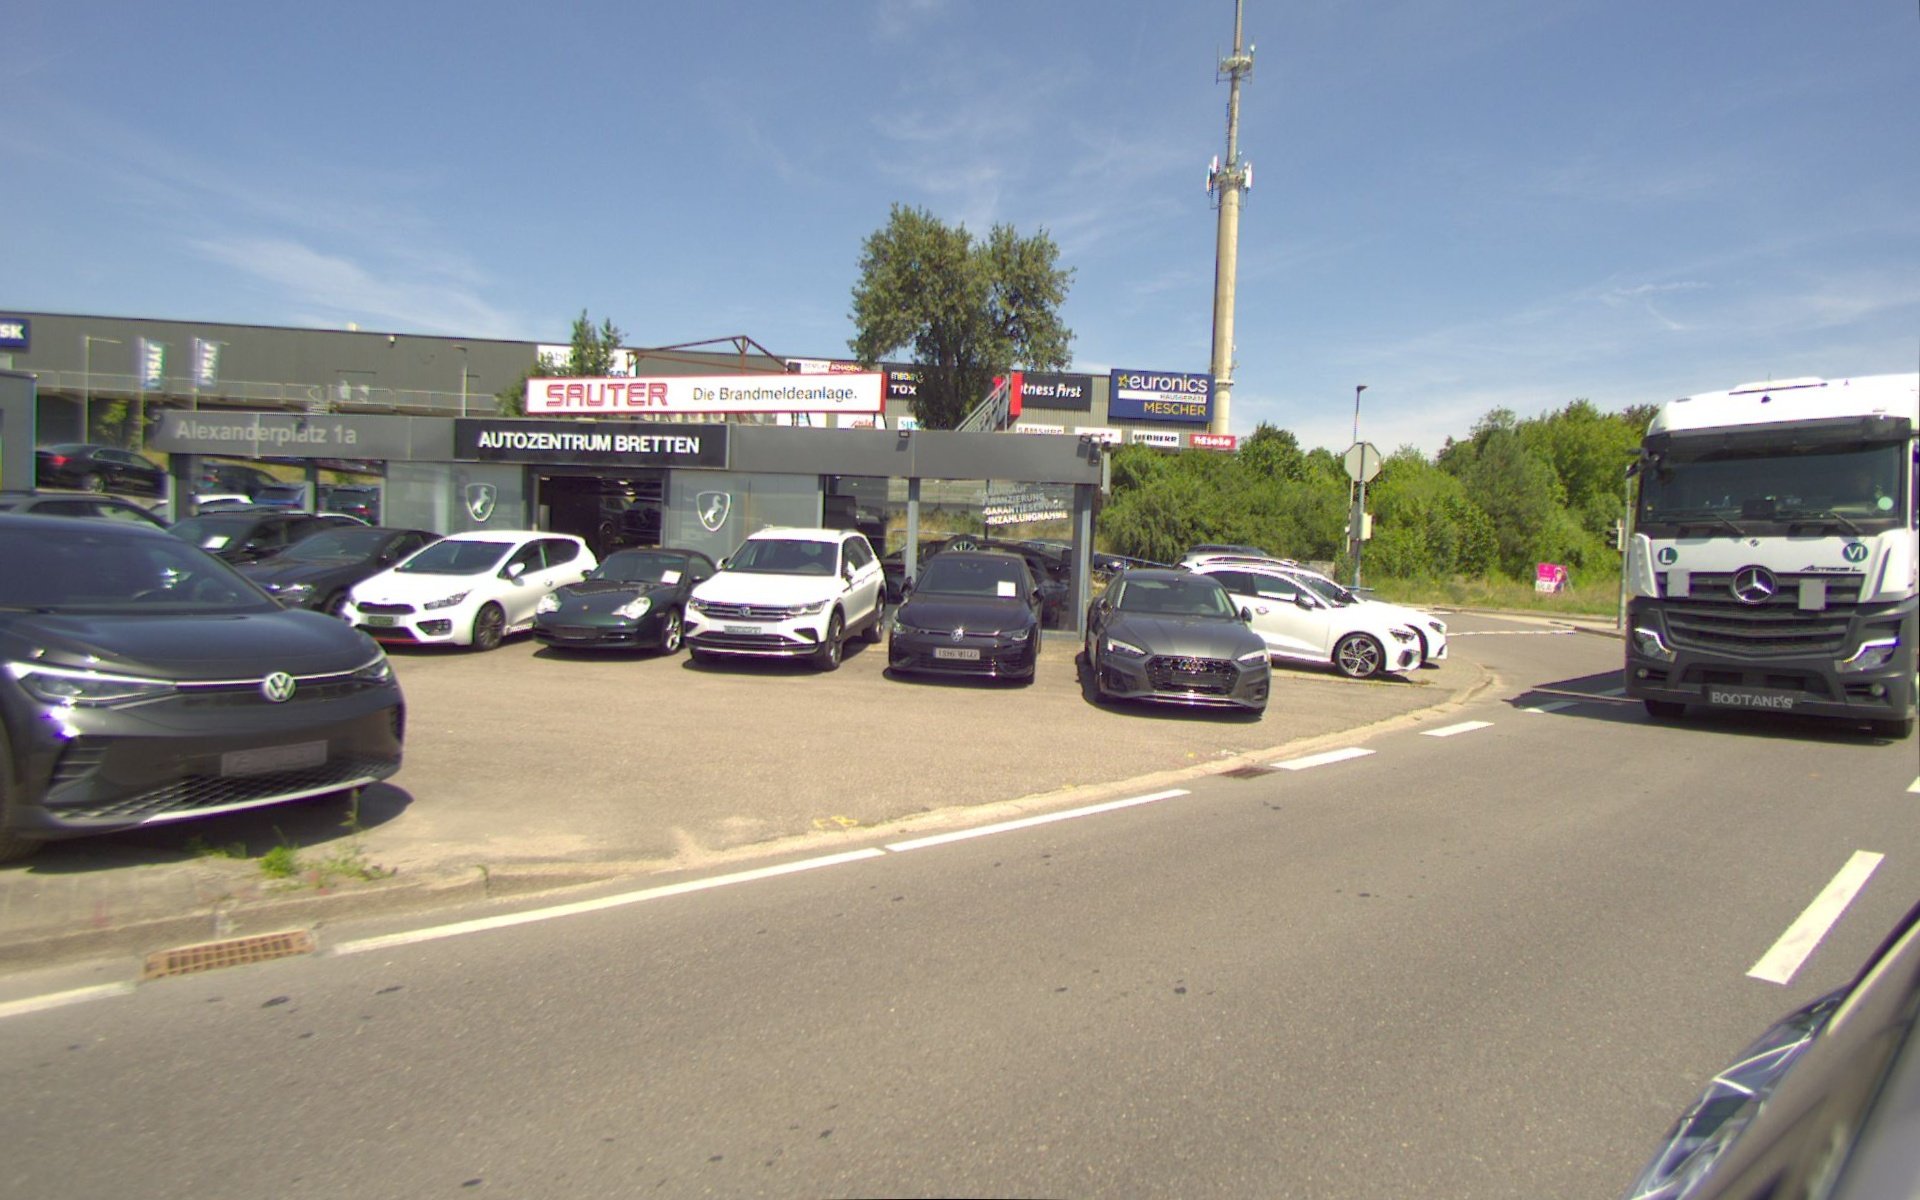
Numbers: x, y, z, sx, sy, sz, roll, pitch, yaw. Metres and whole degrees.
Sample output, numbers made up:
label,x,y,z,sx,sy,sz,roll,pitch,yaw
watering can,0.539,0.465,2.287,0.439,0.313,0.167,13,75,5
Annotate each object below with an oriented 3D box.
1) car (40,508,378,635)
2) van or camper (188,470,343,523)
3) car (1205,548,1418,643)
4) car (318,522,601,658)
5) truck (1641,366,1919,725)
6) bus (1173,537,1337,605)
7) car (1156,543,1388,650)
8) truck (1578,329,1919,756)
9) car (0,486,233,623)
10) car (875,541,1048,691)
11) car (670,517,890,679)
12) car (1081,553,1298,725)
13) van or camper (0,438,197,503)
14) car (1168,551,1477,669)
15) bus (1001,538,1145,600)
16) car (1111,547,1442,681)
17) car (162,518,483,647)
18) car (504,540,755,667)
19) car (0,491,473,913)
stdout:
label,x,y,z,sx,sy,sz,roll,pitch,yaw
car,-11.091,-0.554,15.399,1.822,1.586,4.146,3,5,5
van or camper,-22.251,-3.292,32.618,1.829,1.374,3.985,1,1,13
car,7.587,-0.155,22.275,4.122,1.712,1.878,4,3,13
car,-6.676,-0.270,14.012,1.702,1.501,3.938,3,5,5
truck,15.215,-0.742,17.048,13.885,4.058,2.978,0,4,-43
bus,9.162,-0.985,31.651,4.489,1.669,1.915,8,8,40
car,6.074,-0.128,20.149,4.112,1.712,1.878,4,3,13
truck,10.570,-0.664,12.703,6.219,4.058,2.979,0,4,-42
car,-13.541,-0.760,15.121,1.939,1.809,4.137,3,5,12
car,0.183,0.050,13.146,1.822,1.436,4.164,3,5,5
car,-2.202,-0.195,13.546,1.822,1.733,4.146,3,5,5
car,2.533,0.265,12.375,1.894,1.403,4.932,3,5,5
van or camper,-24.043,-3.559,28.400,1.829,1.374,3.985,1,1,13
car,6.089,0.099,17.602,4.665,1.571,1.995,5,3,11
bus,3.871,-1.101,34.705,4.457,1.669,1.929,6,6,24
car,4.676,0.125,15.331,4.420,1.426,1.737,7,4,18
car,-8.964,-0.383,14.736,1.822,1.515,4.146,3,5,5
car,-4.375,-0.080,14.119,1.822,1.326,4.146,3,5,5
car,-5.168,0.265,5.738,4.292,1.644,2.046,3,3,23
